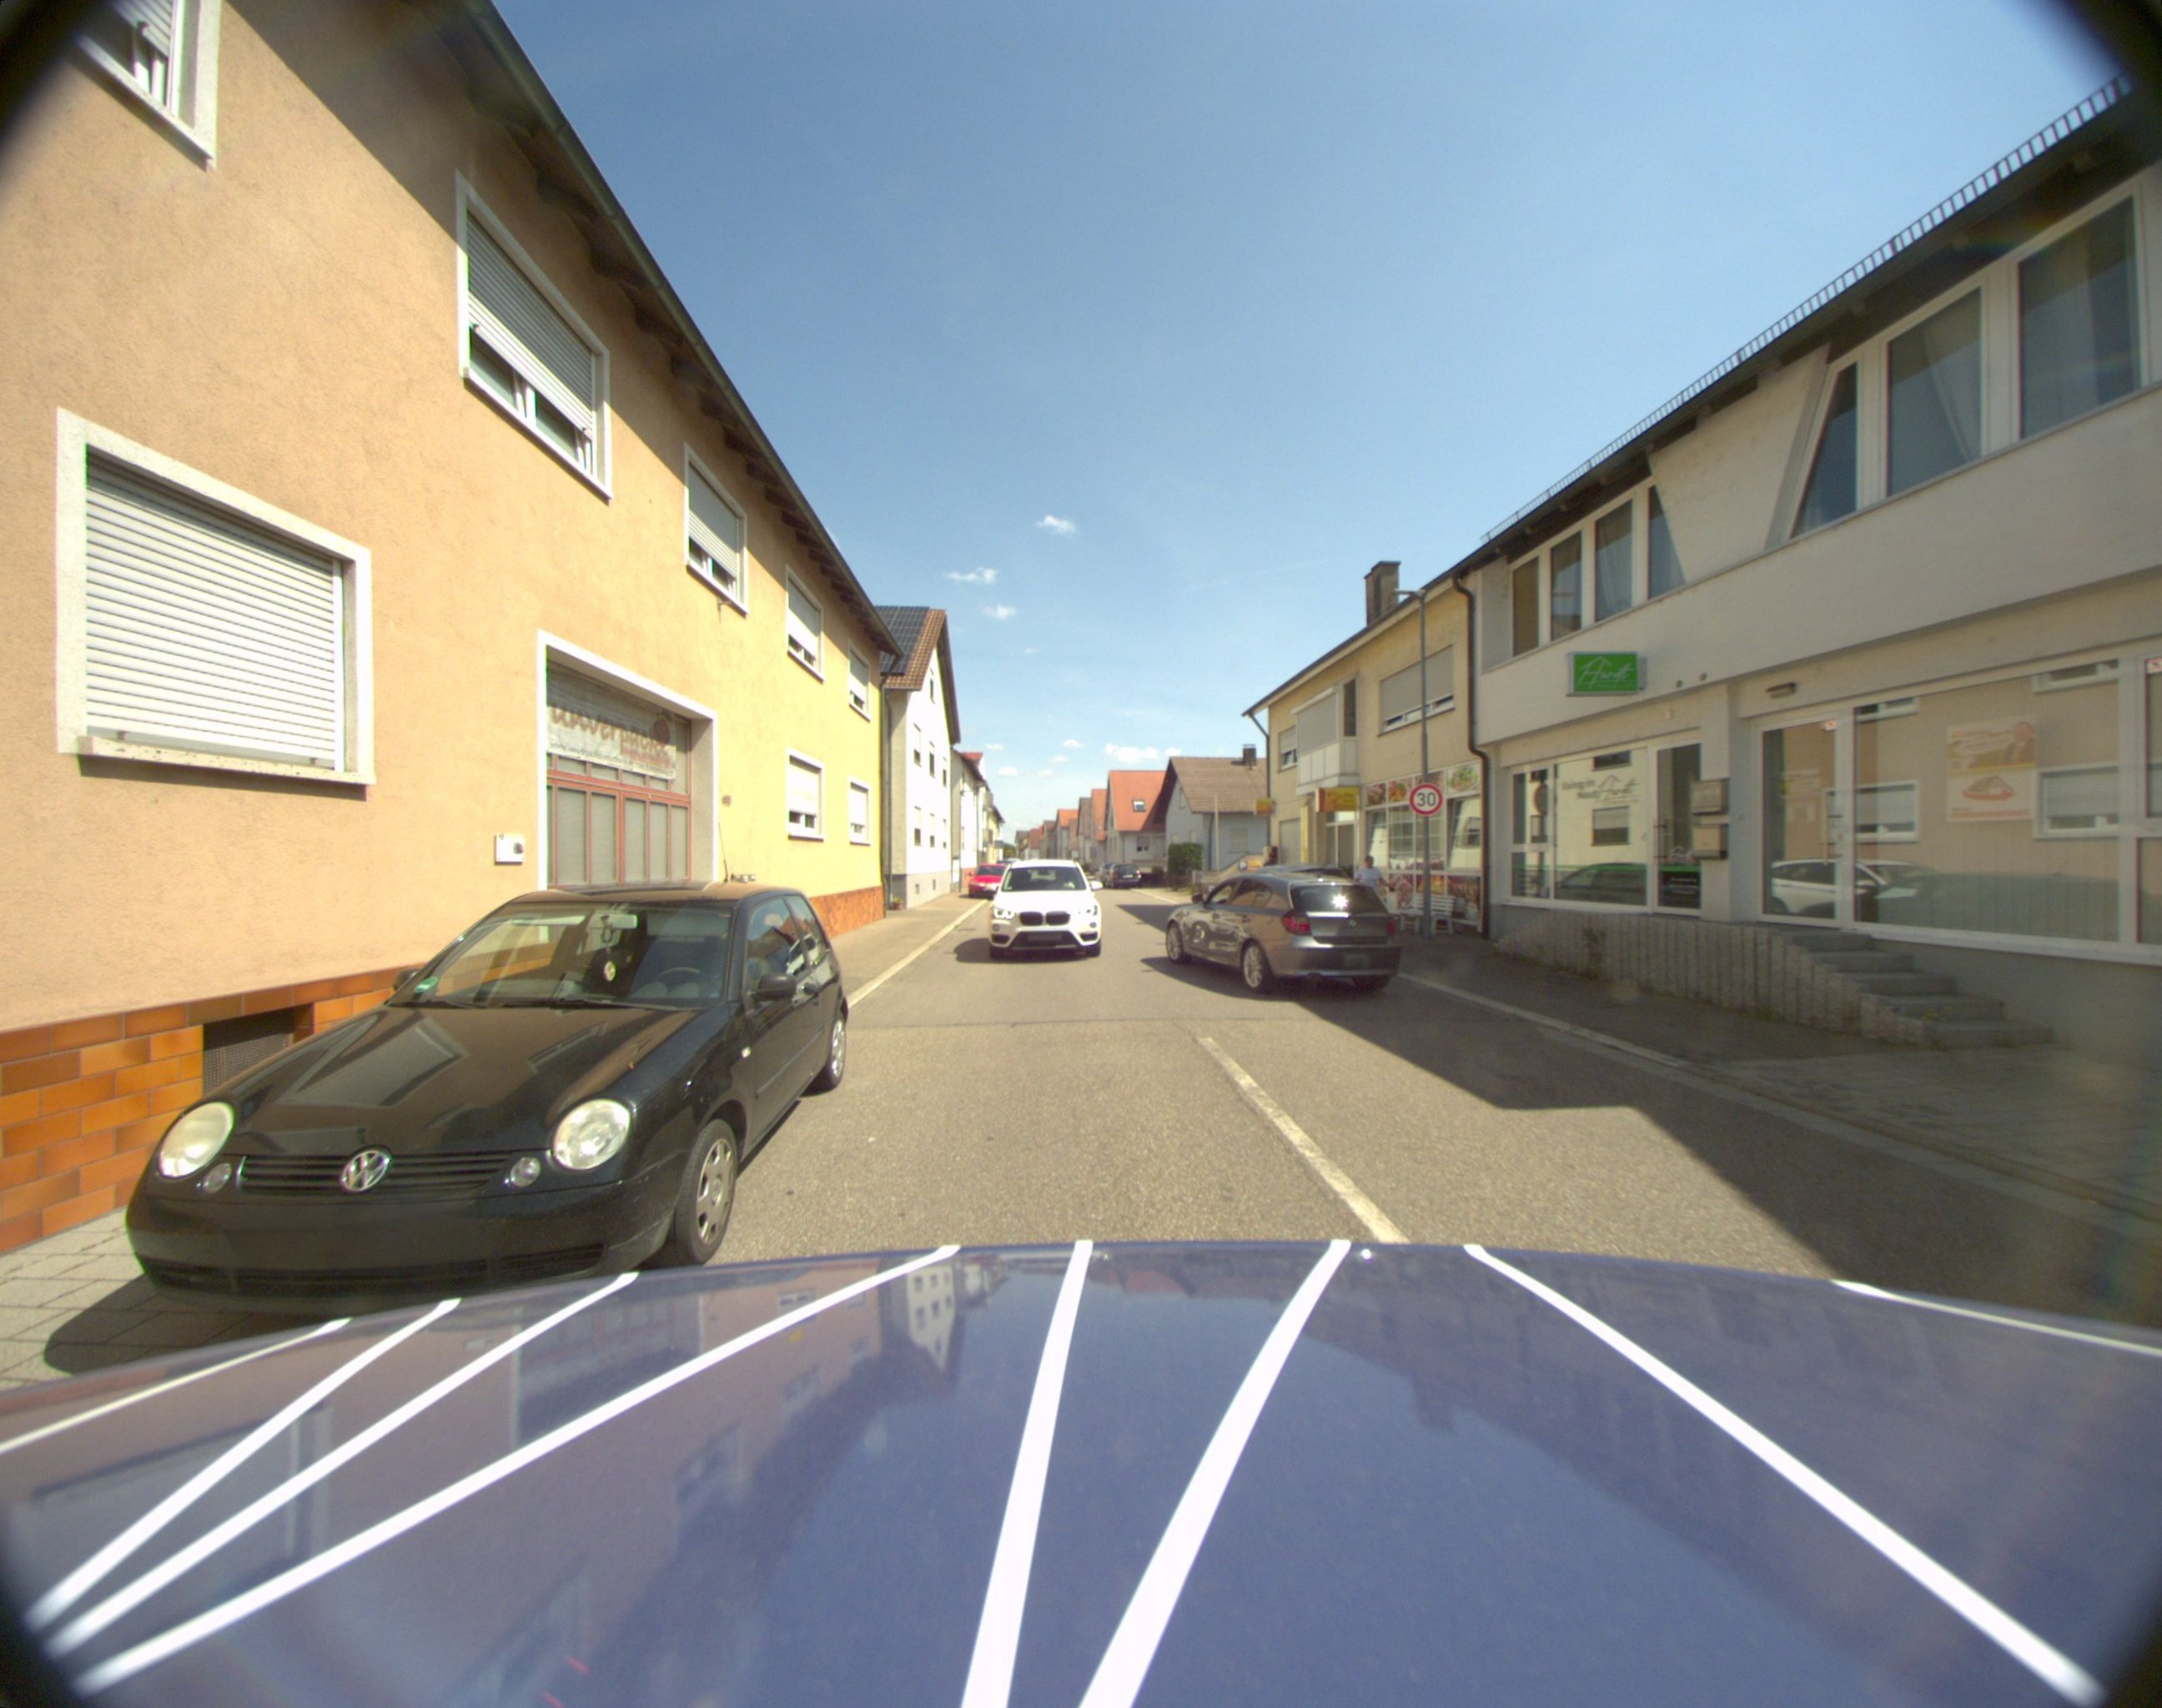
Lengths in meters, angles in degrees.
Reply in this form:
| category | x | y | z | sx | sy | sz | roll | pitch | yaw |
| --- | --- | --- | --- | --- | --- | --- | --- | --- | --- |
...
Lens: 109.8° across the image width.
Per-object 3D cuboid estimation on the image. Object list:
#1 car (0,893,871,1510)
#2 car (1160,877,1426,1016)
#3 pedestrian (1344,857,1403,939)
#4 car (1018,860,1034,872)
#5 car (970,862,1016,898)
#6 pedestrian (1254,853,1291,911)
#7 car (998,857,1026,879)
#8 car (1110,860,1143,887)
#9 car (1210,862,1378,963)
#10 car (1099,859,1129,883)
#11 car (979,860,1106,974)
| category | x | y | z | sx | sy | sz | roll | pitch | yaw |
| --- | --- | --- | --- | --- | --- | --- | --- | --- | --- |
| car | -2.321 | 1.022 | 3.836 | 1.691 | 1.454 | 3.628 | 2 | -1 | -4 |
| car | 2.558 | 1.064 | 10.216 | 1.767 | 1.389 | 3.865 | 1 | 0 | -13 |
| pedestrian | 5.920 | 0.869 | 15.406 | 0.757 | 1.574 | 0.956 | -2 | 1 | -2 |
| car | -6.657 | 1.438 | 92.041 | 1.765 | 1.420 | 4.187 | 0 | 0 | -7 |
| car | -3.731 | 1.076 | 32.759 | 1.765 | 1.420 | 4.188 | 0 | 0 | -4 |
| pedestrian | 5.502 | 0.789 | 21.879 | 0.757 | 1.574 | 0.956 | -2 | 1 | -2 |
| car | -4.492 | 0.908 | 49.885 | 1.765 | 1.420 | 4.188 | 0 | 0 | -4 |
| car | 2.538 | 1.063 | 43.229 | 1.458 | 1.362 | 3.383 | -3 | 0 | -2 |
| car | 3.921 | 1.002 | 14.726 | 1.749 | 1.507 | 3.998 | -4 | 1 | -5 |
| car | 2.031 | 1.034 | 47.595 | 1.442 | 1.362 | 3.383 | -3 | 0 | -4 |
| car | -0.689 | 0.965 | 13.657 | 1.845 | 1.635 | 4.373 | -2 | 0 | -3 |
